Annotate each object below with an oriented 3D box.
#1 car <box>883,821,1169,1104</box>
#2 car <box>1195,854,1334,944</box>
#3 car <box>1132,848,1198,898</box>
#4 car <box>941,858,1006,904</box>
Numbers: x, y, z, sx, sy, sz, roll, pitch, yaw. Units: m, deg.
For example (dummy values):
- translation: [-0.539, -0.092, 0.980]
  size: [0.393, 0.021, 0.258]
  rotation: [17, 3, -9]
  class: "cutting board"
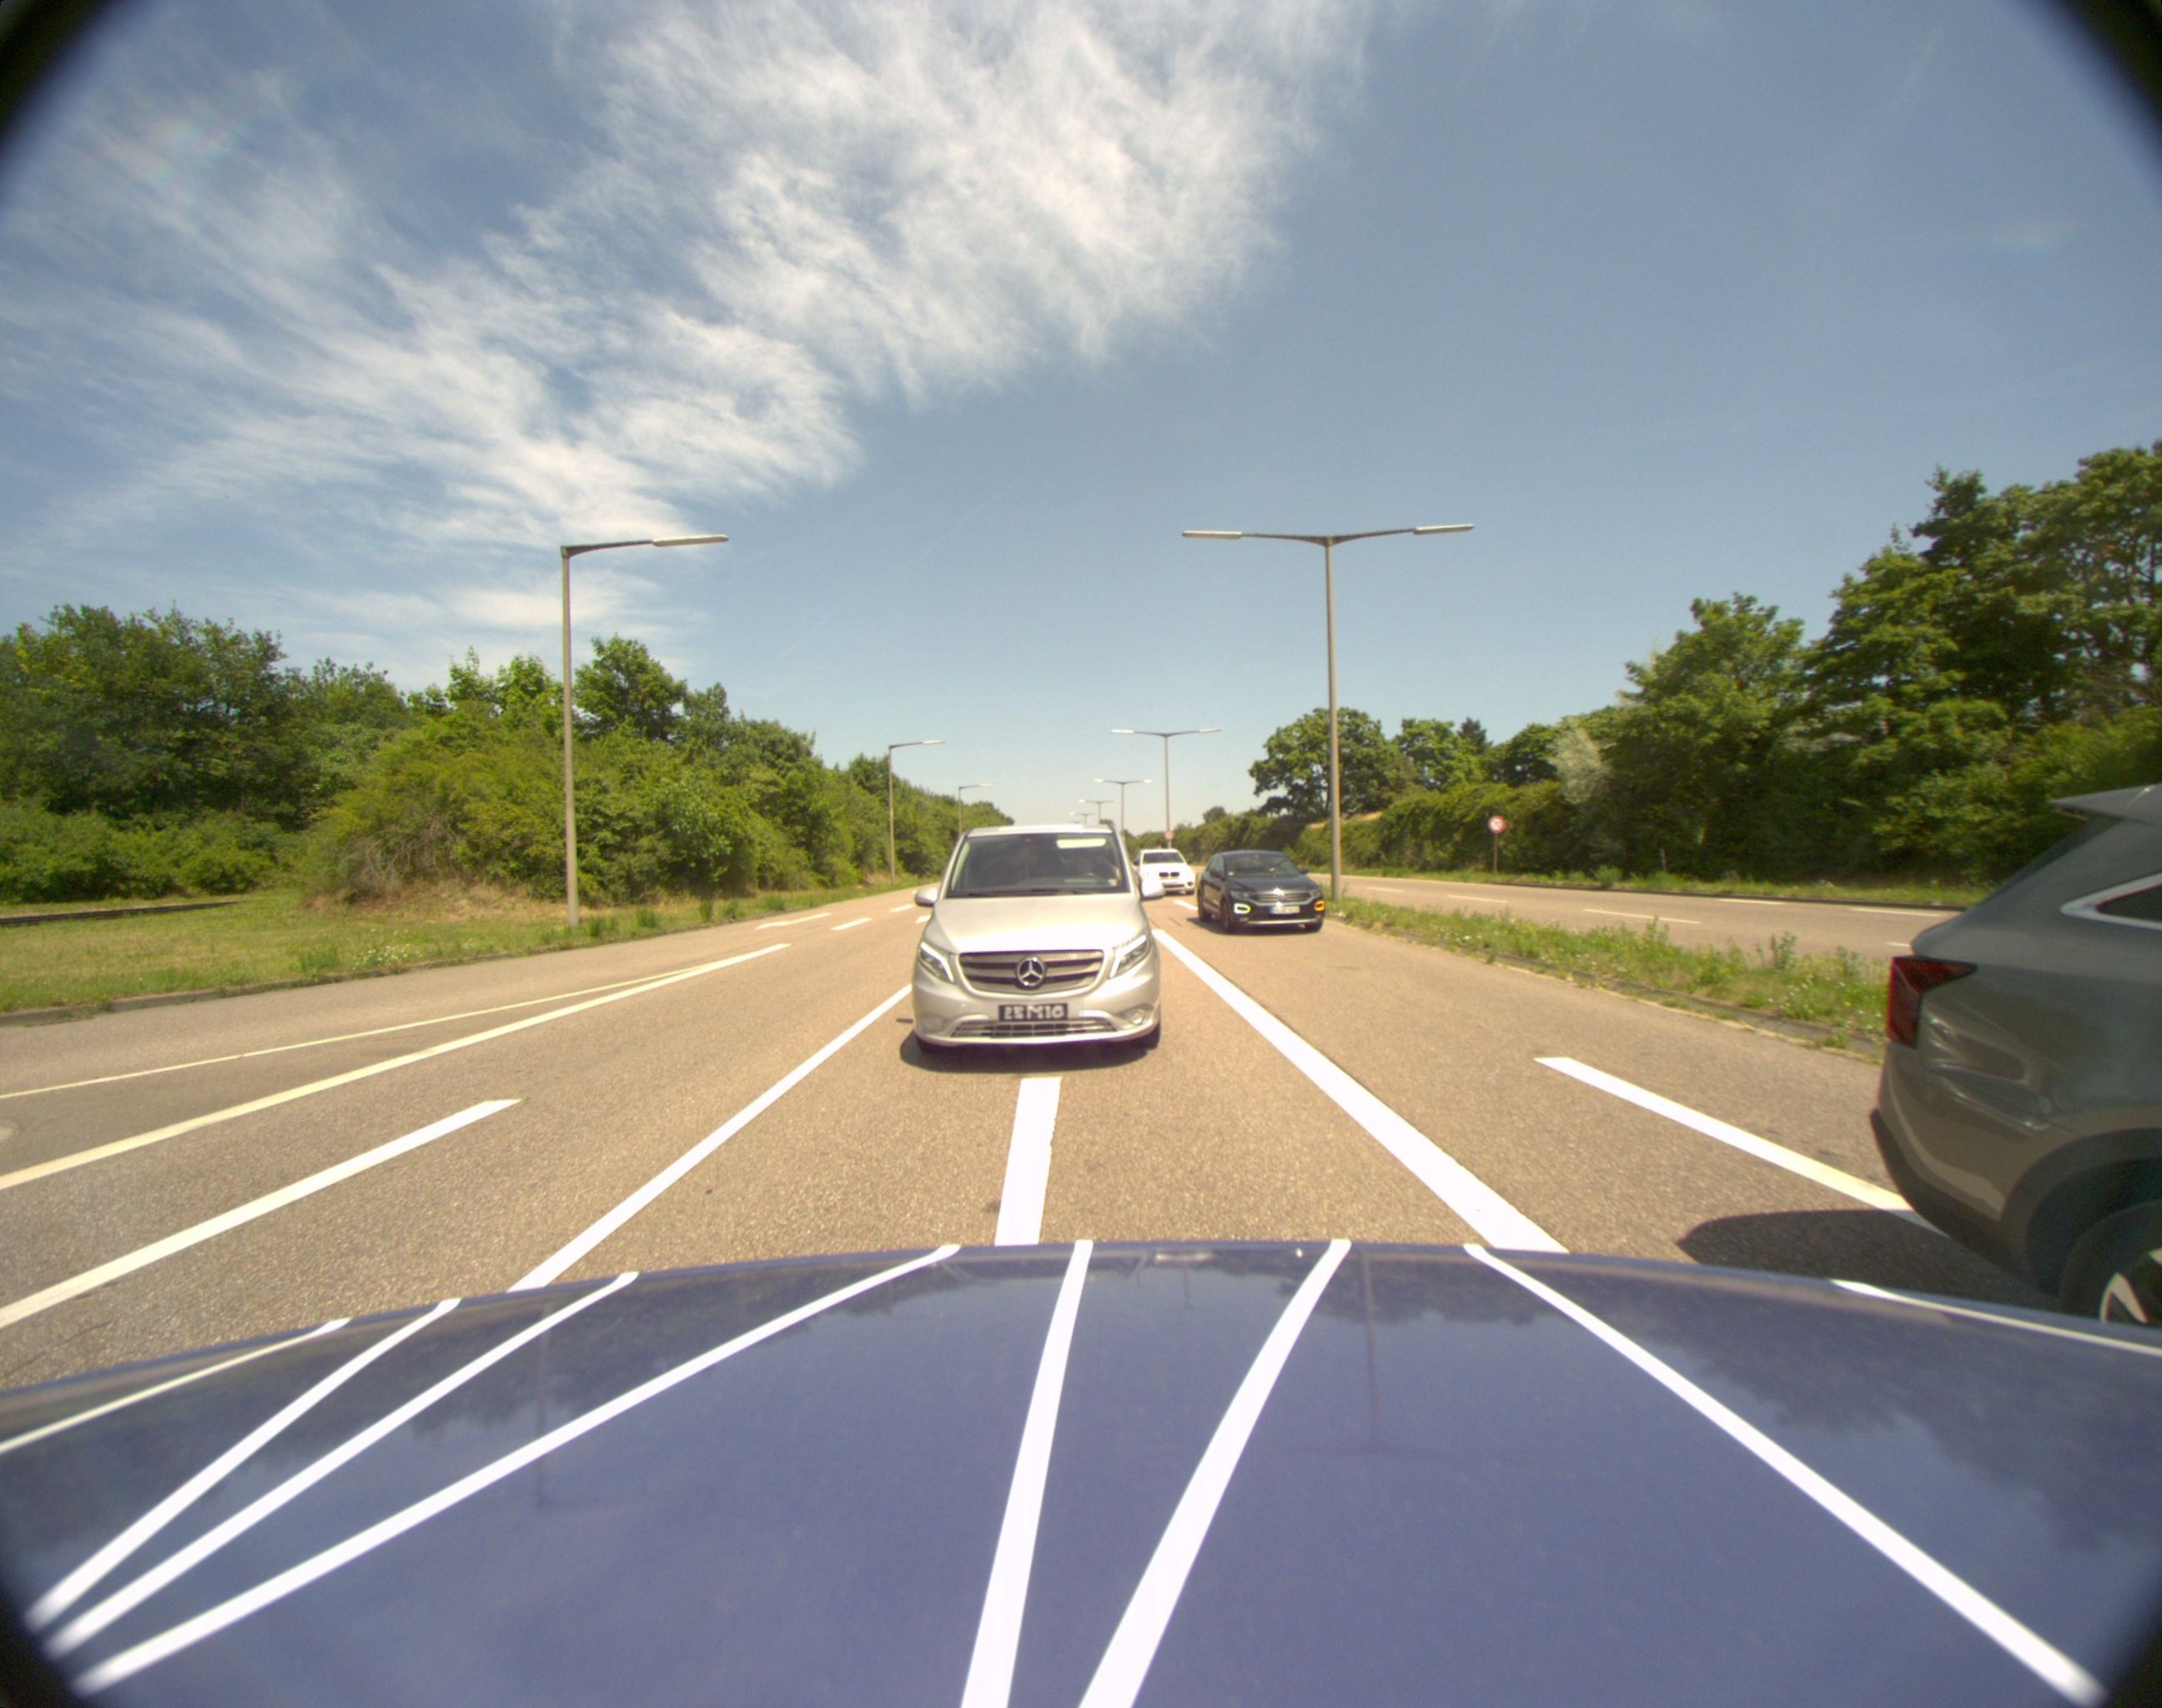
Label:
- translation: [-0.310, 0.723, 7.955]
  size: [1.876, 1.866, 5.732]
  rotation: [-1, 0, 1]
  class: "car"
- translation: [3.486, 0.774, 15.168]
  size: [1.753, 1.491, 4.000]
  rotation: [-2, 0, 0]
  class: "car"
- translation: [3.051, 0.641, 28.295]
  size: [1.921, 1.661, 4.001]
  rotation: [-1, 1, -1]
  class: "car"
- translation: [-3.993, 0.967, 28.873]
  size: [1.722, 1.587, 4.001]
  rotation: [-1, 0, 2]
  class: "car"
